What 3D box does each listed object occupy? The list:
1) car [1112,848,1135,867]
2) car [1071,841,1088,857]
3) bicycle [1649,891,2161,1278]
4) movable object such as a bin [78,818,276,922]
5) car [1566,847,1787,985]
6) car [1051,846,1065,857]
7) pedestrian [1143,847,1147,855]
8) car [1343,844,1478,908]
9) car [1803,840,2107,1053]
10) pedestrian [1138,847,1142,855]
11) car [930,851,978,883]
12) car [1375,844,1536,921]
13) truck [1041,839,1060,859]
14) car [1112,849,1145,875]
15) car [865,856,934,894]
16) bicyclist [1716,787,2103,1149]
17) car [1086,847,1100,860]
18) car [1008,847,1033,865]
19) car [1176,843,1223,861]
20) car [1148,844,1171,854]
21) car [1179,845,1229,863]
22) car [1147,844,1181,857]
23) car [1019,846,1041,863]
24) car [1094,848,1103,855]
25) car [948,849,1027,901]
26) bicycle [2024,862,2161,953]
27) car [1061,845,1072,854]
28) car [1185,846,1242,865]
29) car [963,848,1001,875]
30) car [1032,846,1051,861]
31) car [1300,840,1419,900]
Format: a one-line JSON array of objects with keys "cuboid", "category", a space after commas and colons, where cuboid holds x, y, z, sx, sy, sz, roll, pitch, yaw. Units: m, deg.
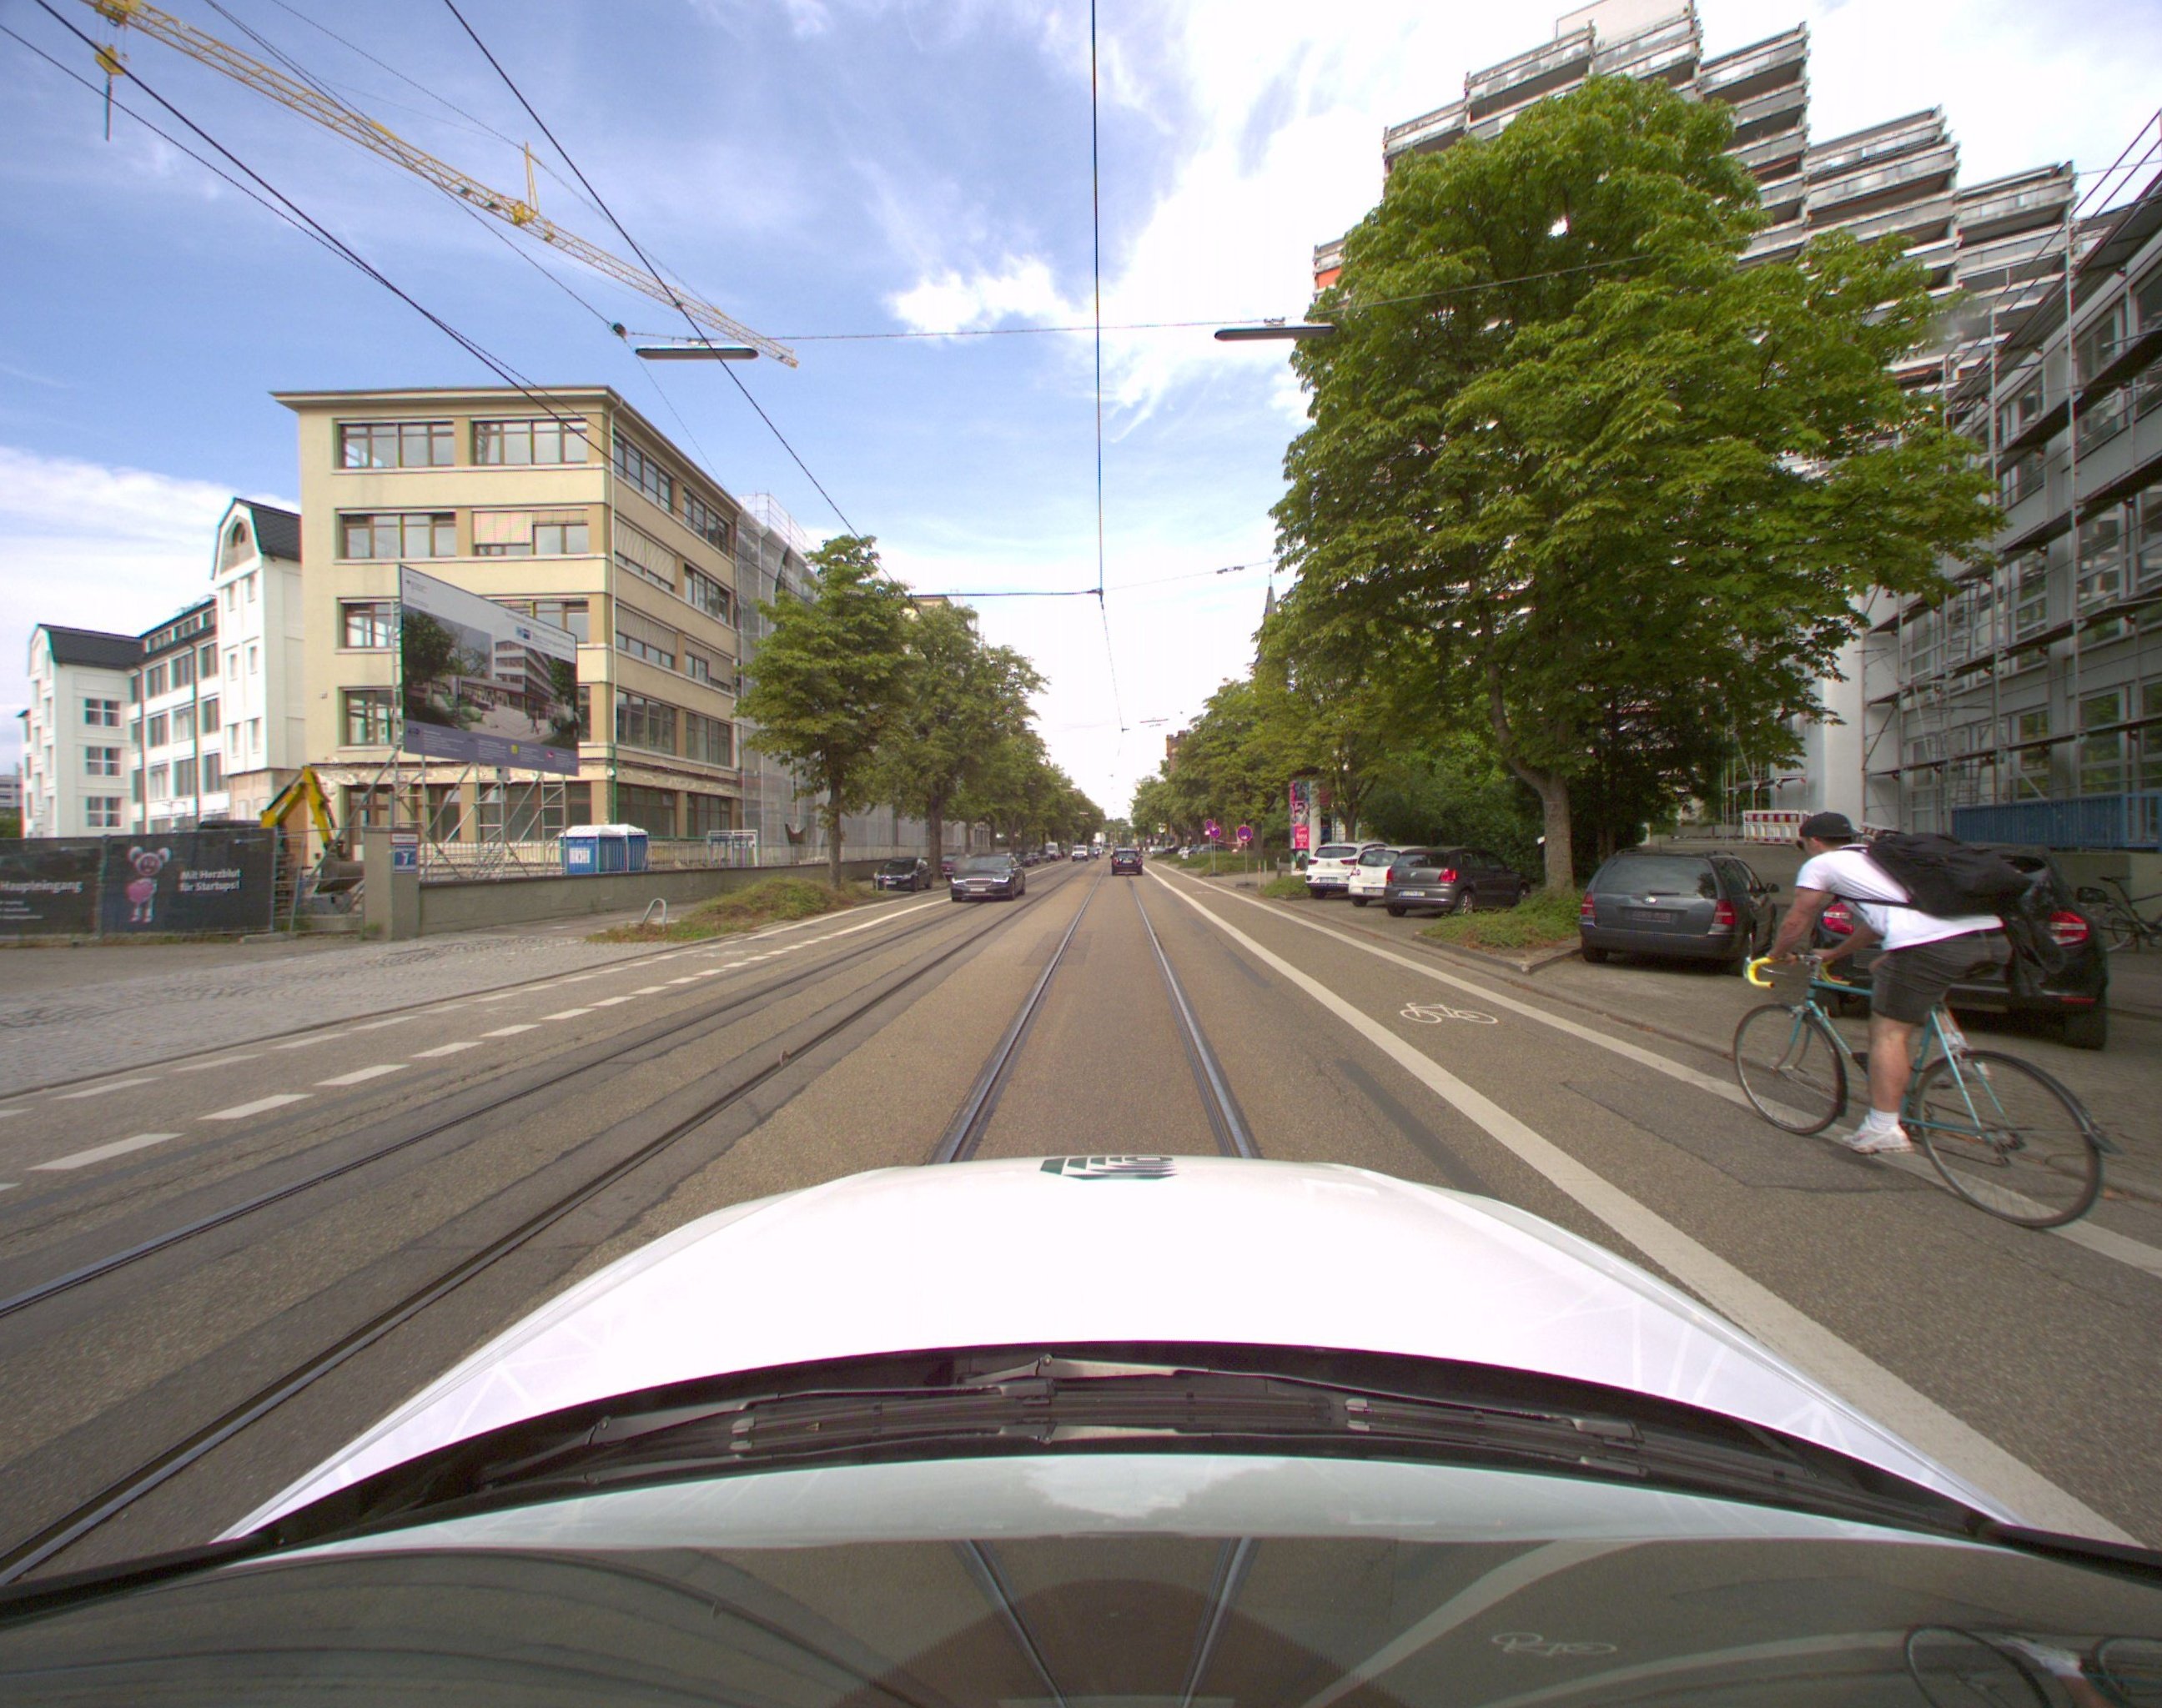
[{"cuboid": [3.437, 0.266, 65.602, 1.786, 1.470, 4.003, 1, 1, 3], "category": "car"}, {"cuboid": [-0.152, -0.600, 94.356, 1.796, 1.823, 4.486, -2, 0, 2], "category": "car"}, {"cuboid": [3.803, 0.865, 3.947, 0.655, 1.249, 2.125, 0, 1, 1], "category": "bicycle"}, {"cuboid": [-18.996, 0.308, 17.208, 1.977, 2.067, 1.963, -1, 0, 4], "category": "movable object such as a bin"}, {"cuboid": [7.765, 0.640, 10.486, 3.760, 1.458, 1.620, -1, 0, -43], "category": "car"}, {"cuboid": [-3.400, -0.416, 119.937, 1.796, 1.583, 4.033, -2, 0, 2], "category": "car"}, {"cuboid": [13.308, -0.629, 170.420, 0.721, 1.646, 0.769, 0, 0, 12], "category": "pedestrian"}, {"cuboid": [8.246, 0.480, 20.288, 3.463, 1.442, 1.543, -1, 1, -37], "category": "car"}, {"cuboid": [8.128, 0.646, 7.682, 3.760, 1.522, 1.620, -1, 0, -43], "category": "car"}, {"cuboid": [12.125, -0.607, 167.980, 0.721, 1.646, 0.769, 0, 0, 12], "category": "pedestrian"}, {"cuboid": [-6.831, 0.652, 44.173, 1.796, 1.583, 4.033, -2, 0, 2], "category": "car"}, {"cuboid": [7.973, 0.523, 17.243, 3.551, 1.442, 1.606, -1, 1, -37], "category": "car"}, {"cuboid": [-3.984, -0.689, 107.438, 2.063, 2.470, 4.901, -2, 0, 2], "category": "truck"}, {"cuboid": [2.631, 0.416, 46.020, 1.787, 1.423, 4.002, 0, 1, 2], "category": "car"}, {"cuboid": [-7.442, 0.819, 33.788, 1.796, 1.374, 4.033, -2, 0, 2], "category": "car"}, {"cuboid": [3.809, 0.455, 3.882, 0.655, 1.463, 1.179, 0, 1, 1], "category": "bicyclist"}, {"cuboid": [1.713, -0.094, 113.932, 1.796, 1.622, 4.486, -2, 0, 2], "category": "car"}, {"cuboid": [-5.482, 0.166, 74.002, 1.796, 1.583, 4.033, -2, 0, 2], "category": "car"}, {"cuboid": [10.815, -0.173, 74.283, 3.975, 1.627, 1.884, -1, 0, -1], "category": "car"}, {"cuboid": [14.114, -0.911, 146.072, 3.975, 1.910, 1.999, 0, 1, -1], "category": "car"}, {"cuboid": [10.356, 0.000, 68.888, 3.975, 1.425, 1.884, -1, 0, -1], "category": "car"}, {"cuboid": [10.130, -0.462, 99.960, 3.975, 1.508, 1.884, -1, 0, -1], "category": "car"}, {"cuboid": [-5.192, 0.055, 82.961, 1.796, 1.583, 4.033, -2, 0, 2], "category": "car"}, {"cuboid": [3.918, -0.592, 181.340, 1.796, 1.622, 4.486, -2, 0, 2], "category": "car"}, {"cuboid": [-2.843, 0.588, 25.827, 1.828, 1.448, 4.555, -1, 1, 2], "category": "car"}, {"cuboid": [13.616, 0.674, 10.404, 1.947, 1.128, 0.542, -2, -1, 32], "category": "bicycle"}, {"cuboid": [-2.643, -0.833, 150.689, 1.796, 1.583, 4.033, -2, 0, 2], "category": "car"}, {"cuboid": [10.058, 0.093, 61.988, 3.975, 1.425, 1.884, -1, 0, -1], "category": "car"}, {"cuboid": [-6.407, 0.458, 53.039, 1.796, 1.583, 4.033, -2, 0, 2], "category": "car"}, {"cuboid": [-4.549, -0.096, 94.360, 1.796, 1.583, 4.033, -2, 0, 2], "category": "car"}, {"cuboid": [8.025, 0.407, 23.397, 3.463, 1.572, 1.543, -1, 1, -37], "category": "car"}]
